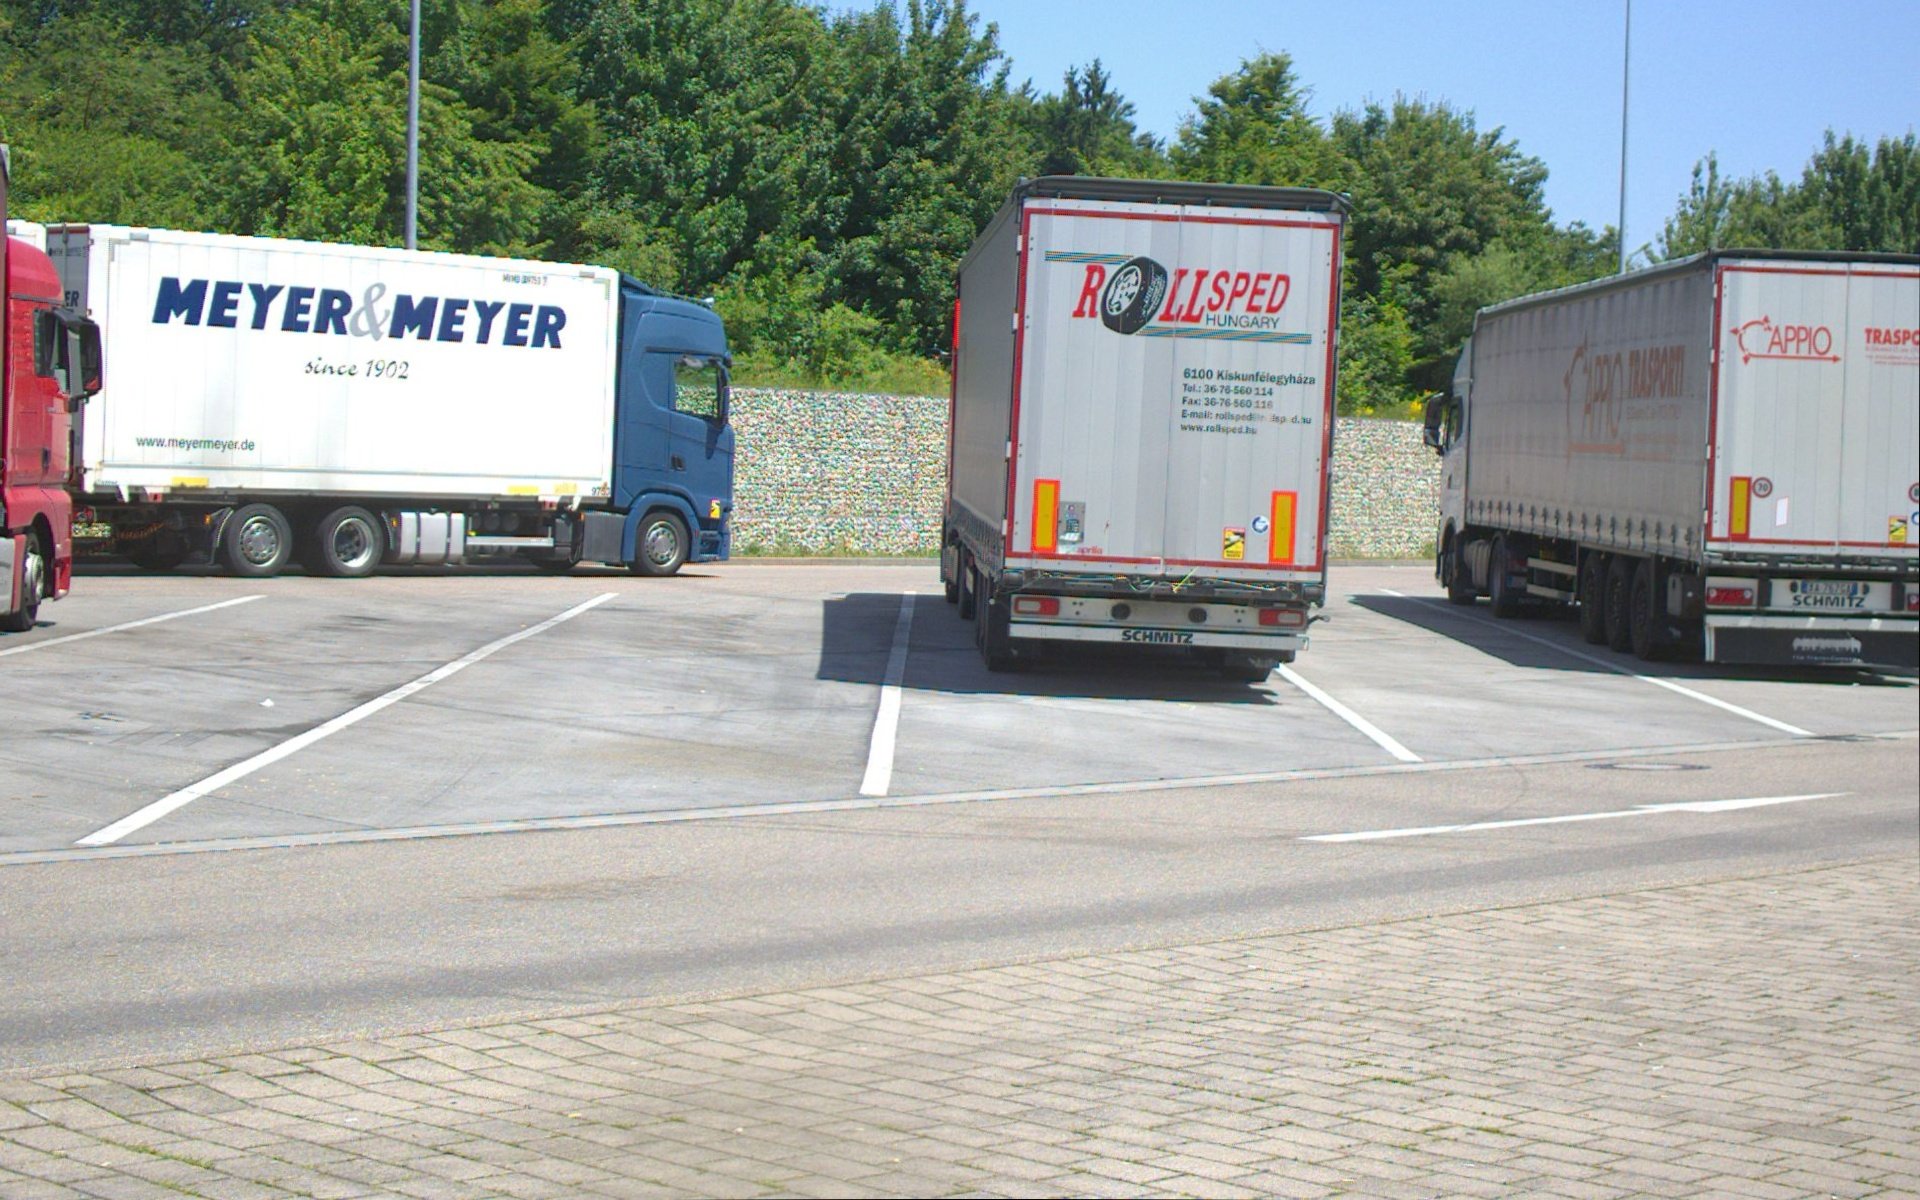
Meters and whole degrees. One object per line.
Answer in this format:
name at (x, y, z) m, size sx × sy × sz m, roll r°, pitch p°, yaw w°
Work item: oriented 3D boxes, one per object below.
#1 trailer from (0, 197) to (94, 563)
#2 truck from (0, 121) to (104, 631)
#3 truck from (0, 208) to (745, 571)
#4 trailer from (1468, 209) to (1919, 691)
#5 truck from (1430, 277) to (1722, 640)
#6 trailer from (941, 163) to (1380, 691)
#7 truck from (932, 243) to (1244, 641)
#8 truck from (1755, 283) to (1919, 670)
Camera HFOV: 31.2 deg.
trailer at (-13.392, -2.477, 37.018) m, size 2.262 × 4.053 × 7.866 m, roll 1°, pitch 1°, yaw 43°
truck at (-9.176, -1.836, 28.358) m, size 2.805 × 4.119 × 5.894 m, roll 1°, pitch 2°, yaw -1°
truck at (-7.222, -2.461, 43.506) m, size 2.240 × 4.019 × 10.028 m, roll 2°, pitch 1°, yaw 44°
trailer at (8.111, -1.586, 38.256) m, size 2.681 × 4.437 × 12.831 m, roll 1°, pitch 2°, yaw -1°
truck at (7.979, -1.832, 45.238) m, size 2.661 × 4.437 × 5.864 m, roll 1°, pitch 2°, yaw -1°
trailer at (1.502, -1.502, 31.949) m, size 2.897 × 4.000 × 11.319 m, roll 1°, pitch 2°, yaw -2°
truck at (1.269, -1.692, 37.726) m, size 2.871 × 3.966 × 6.030 m, roll 1°, pitch 2°, yaw -3°
truck at (11.729, -1.344, 38.712) m, size 2.587 × 4.211 × 11.971 m, roll 1°, pitch 1°, yaw -1°
